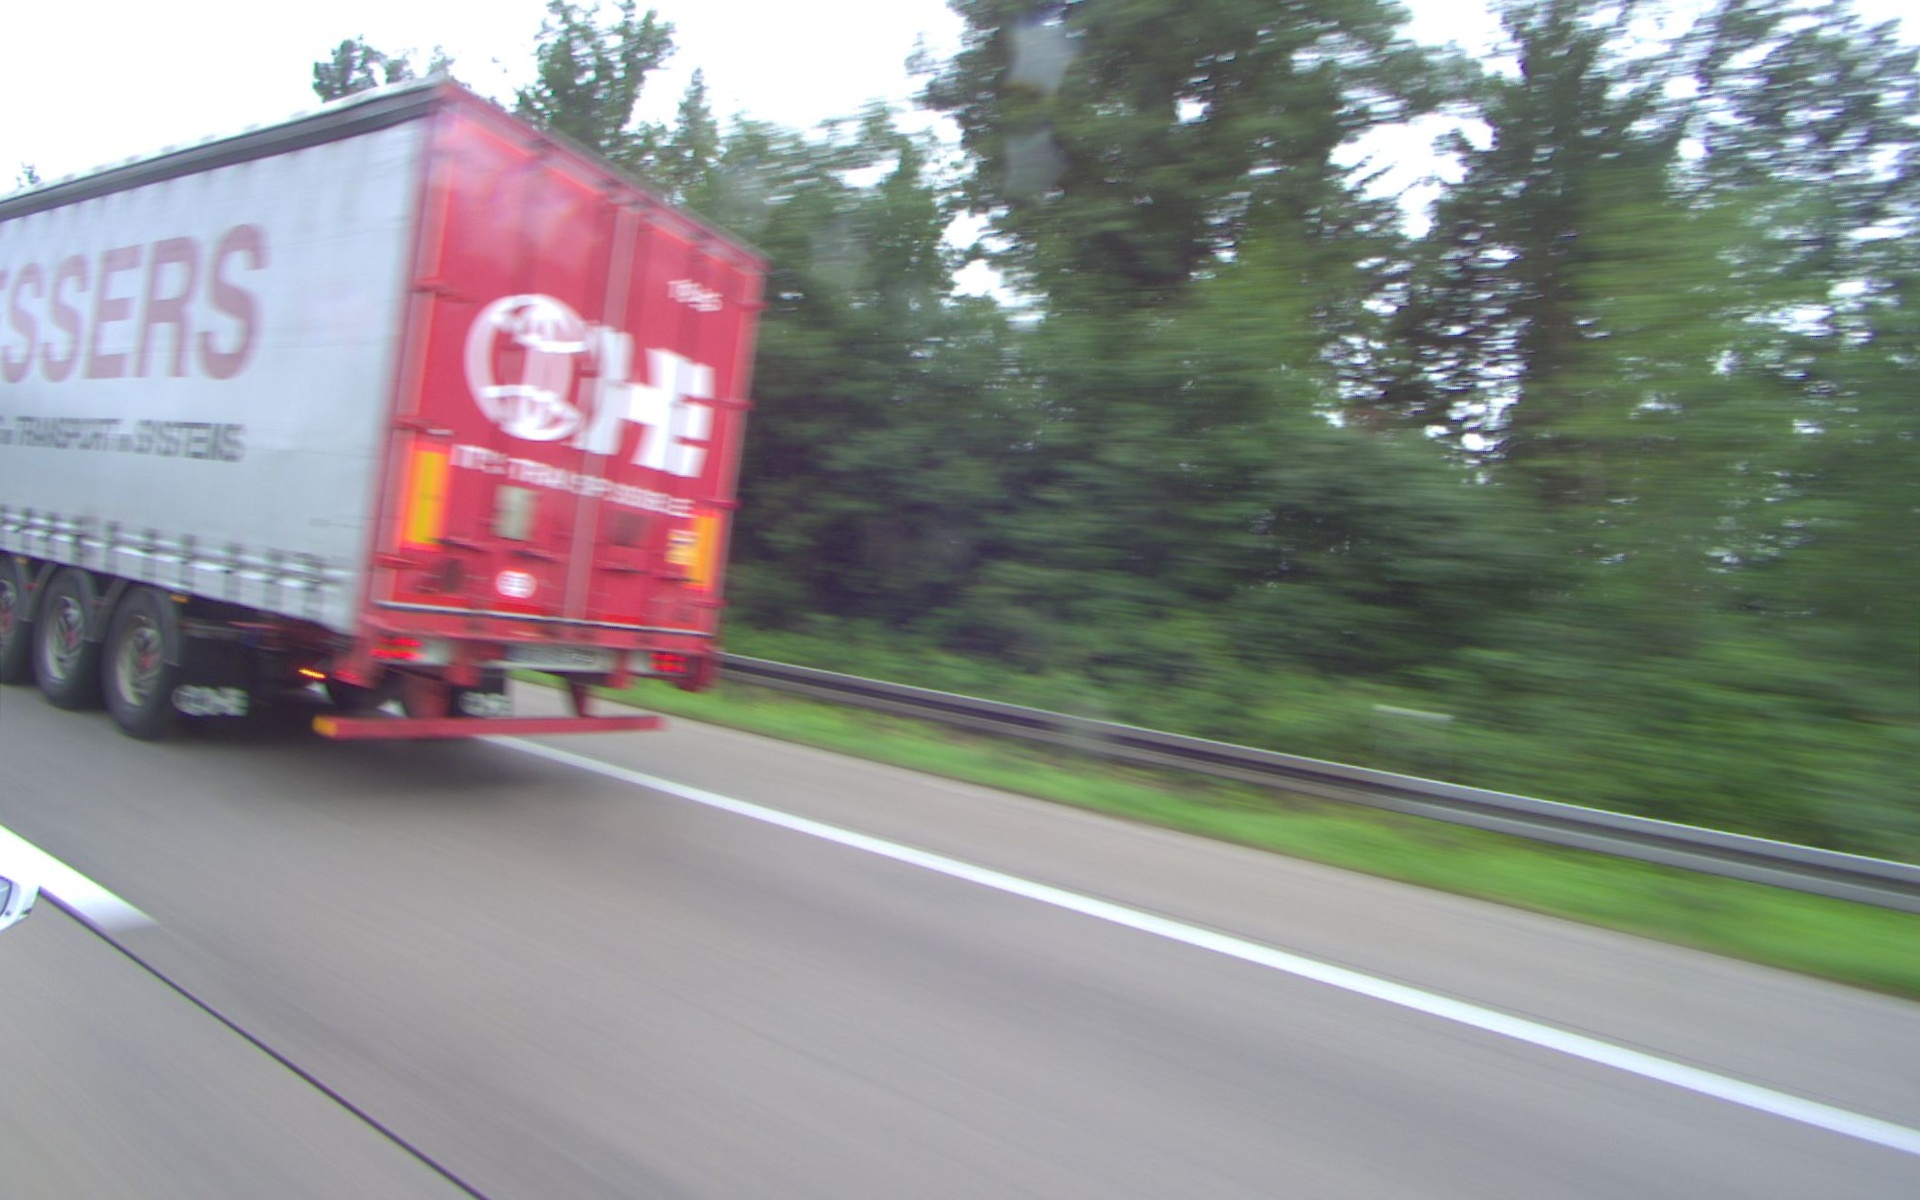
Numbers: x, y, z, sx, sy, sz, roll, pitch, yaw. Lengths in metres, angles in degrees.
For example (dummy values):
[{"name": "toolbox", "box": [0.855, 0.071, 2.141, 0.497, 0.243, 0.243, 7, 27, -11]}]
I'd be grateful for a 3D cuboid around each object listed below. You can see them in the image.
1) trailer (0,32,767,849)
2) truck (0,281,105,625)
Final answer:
[{"name": "trailer", "box": [-7.397, -1.297, 9.100, 12.311, 4.001, 2.374, 7, 0, 31]}, {"name": "truck", "box": [-14.198, -2.086, 13.231, 6.057, 4.001, 2.379, 7, 0, 31]}]
